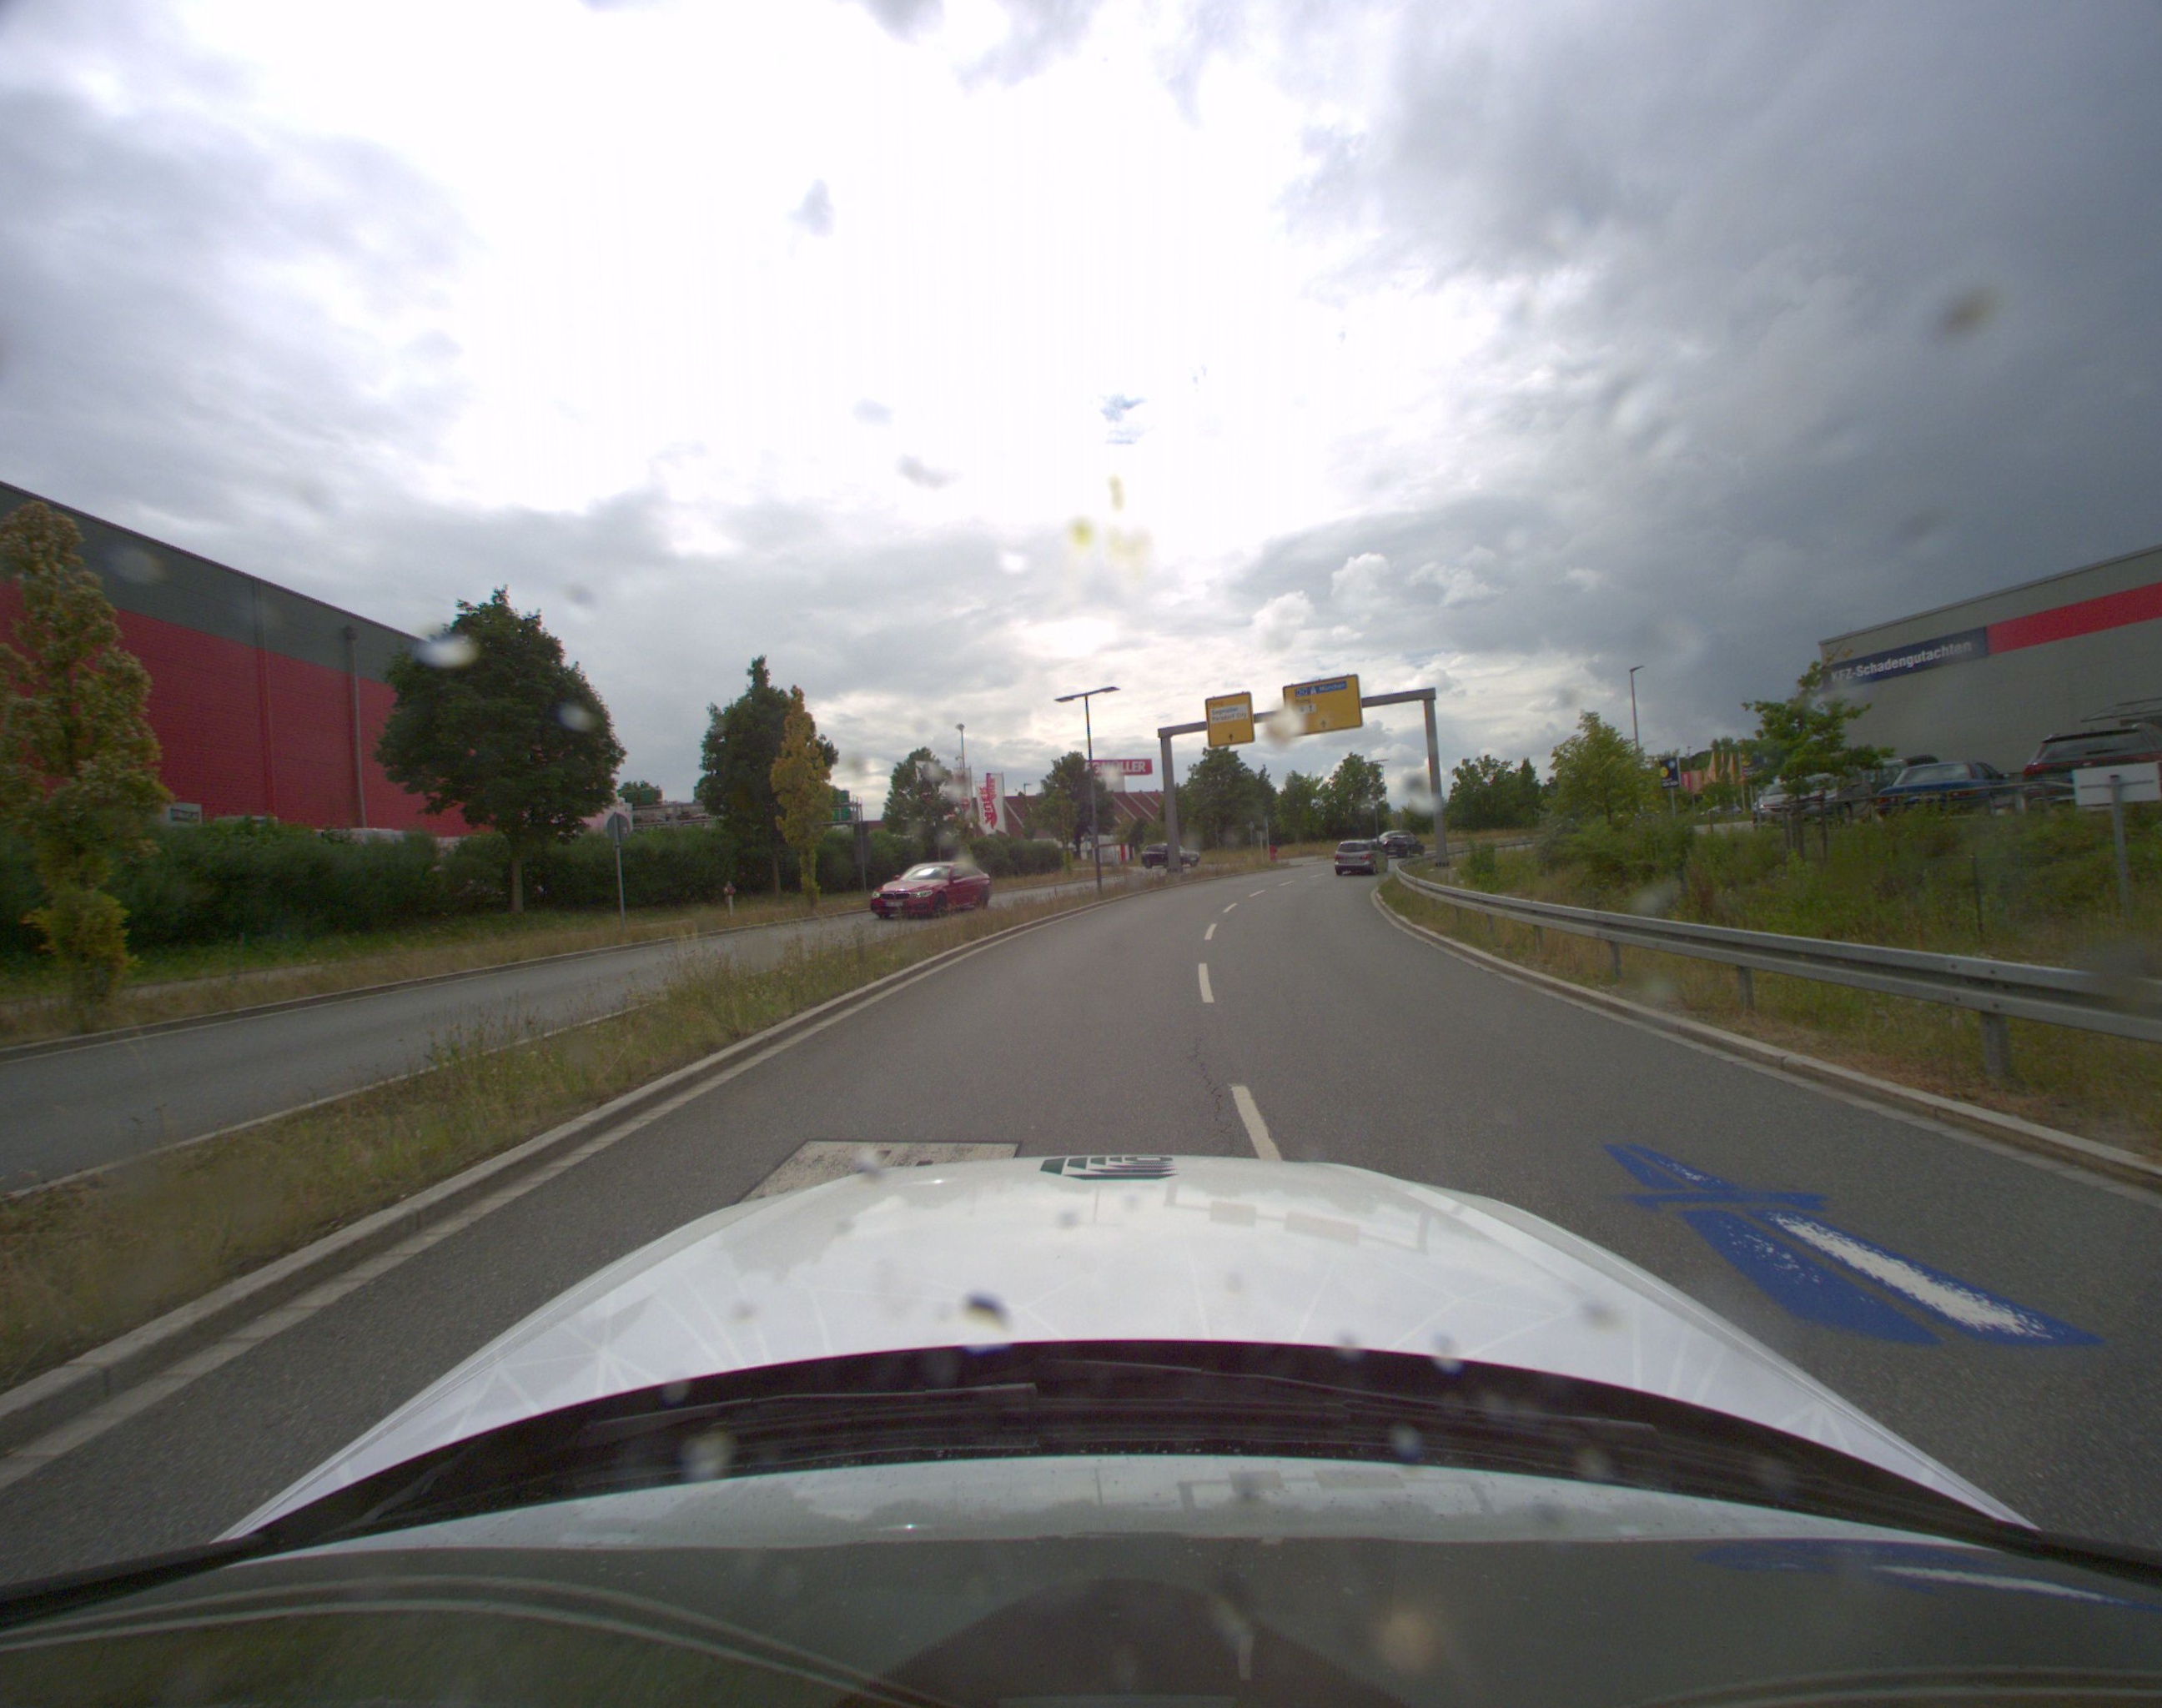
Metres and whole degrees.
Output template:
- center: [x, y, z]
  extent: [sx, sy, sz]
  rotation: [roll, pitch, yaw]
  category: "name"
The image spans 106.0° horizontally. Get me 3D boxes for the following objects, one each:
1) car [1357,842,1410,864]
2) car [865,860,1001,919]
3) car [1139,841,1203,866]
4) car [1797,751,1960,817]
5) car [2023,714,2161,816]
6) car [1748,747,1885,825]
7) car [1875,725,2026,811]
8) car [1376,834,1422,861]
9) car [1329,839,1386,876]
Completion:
- center: [25.275, -0.093, 68.022]
  extent: [4.706, 1.629, 1.796]
  rotation: [-2, 1, -35]
  category: "car"
- center: [-4.094, 0.940, 23.557]
  extent: [1.777, 1.447, 4.993]
  rotation: [-1, 0, 16]
  category: "car"
- center: [6.086, -0.009, 55.347]
  extent: [1.882, 1.549, 4.208]
  rotation: [-3, 0, -36]
  category: "car"
- center: [28.936, -2.489, 29.750]
  extent: [1.697, 1.811, 3.962]
  rotation: [-7, -1, -6]
  category: "car"
- center: [19.628, -1.599, 15.561]
  extent: [3.746, 1.653, 1.504]
  rotation: [-1, 0, -31]
  category: "car"
- center: [19.295, -1.689, 21.329]
  extent: [4.187, 1.782, 1.785]
  rotation: [-1, 0, -36]
  category: "car"
- center: [19.974, -1.872, 18.688]
  extent: [3.873, 1.653, 1.715]
  rotation: [-1, 0, -33]
  category: "car"
- center: [21.110, -0.454, 53.948]
  extent: [1.851, 1.605, 3.759]
  rotation: [-3, -1, 36]
  category: "car"
- center: [13.093, 0.138, 38.375]
  extent: [1.750, 1.616, 3.946]
  rotation: [-3, -1, 30]
  category: "car"
